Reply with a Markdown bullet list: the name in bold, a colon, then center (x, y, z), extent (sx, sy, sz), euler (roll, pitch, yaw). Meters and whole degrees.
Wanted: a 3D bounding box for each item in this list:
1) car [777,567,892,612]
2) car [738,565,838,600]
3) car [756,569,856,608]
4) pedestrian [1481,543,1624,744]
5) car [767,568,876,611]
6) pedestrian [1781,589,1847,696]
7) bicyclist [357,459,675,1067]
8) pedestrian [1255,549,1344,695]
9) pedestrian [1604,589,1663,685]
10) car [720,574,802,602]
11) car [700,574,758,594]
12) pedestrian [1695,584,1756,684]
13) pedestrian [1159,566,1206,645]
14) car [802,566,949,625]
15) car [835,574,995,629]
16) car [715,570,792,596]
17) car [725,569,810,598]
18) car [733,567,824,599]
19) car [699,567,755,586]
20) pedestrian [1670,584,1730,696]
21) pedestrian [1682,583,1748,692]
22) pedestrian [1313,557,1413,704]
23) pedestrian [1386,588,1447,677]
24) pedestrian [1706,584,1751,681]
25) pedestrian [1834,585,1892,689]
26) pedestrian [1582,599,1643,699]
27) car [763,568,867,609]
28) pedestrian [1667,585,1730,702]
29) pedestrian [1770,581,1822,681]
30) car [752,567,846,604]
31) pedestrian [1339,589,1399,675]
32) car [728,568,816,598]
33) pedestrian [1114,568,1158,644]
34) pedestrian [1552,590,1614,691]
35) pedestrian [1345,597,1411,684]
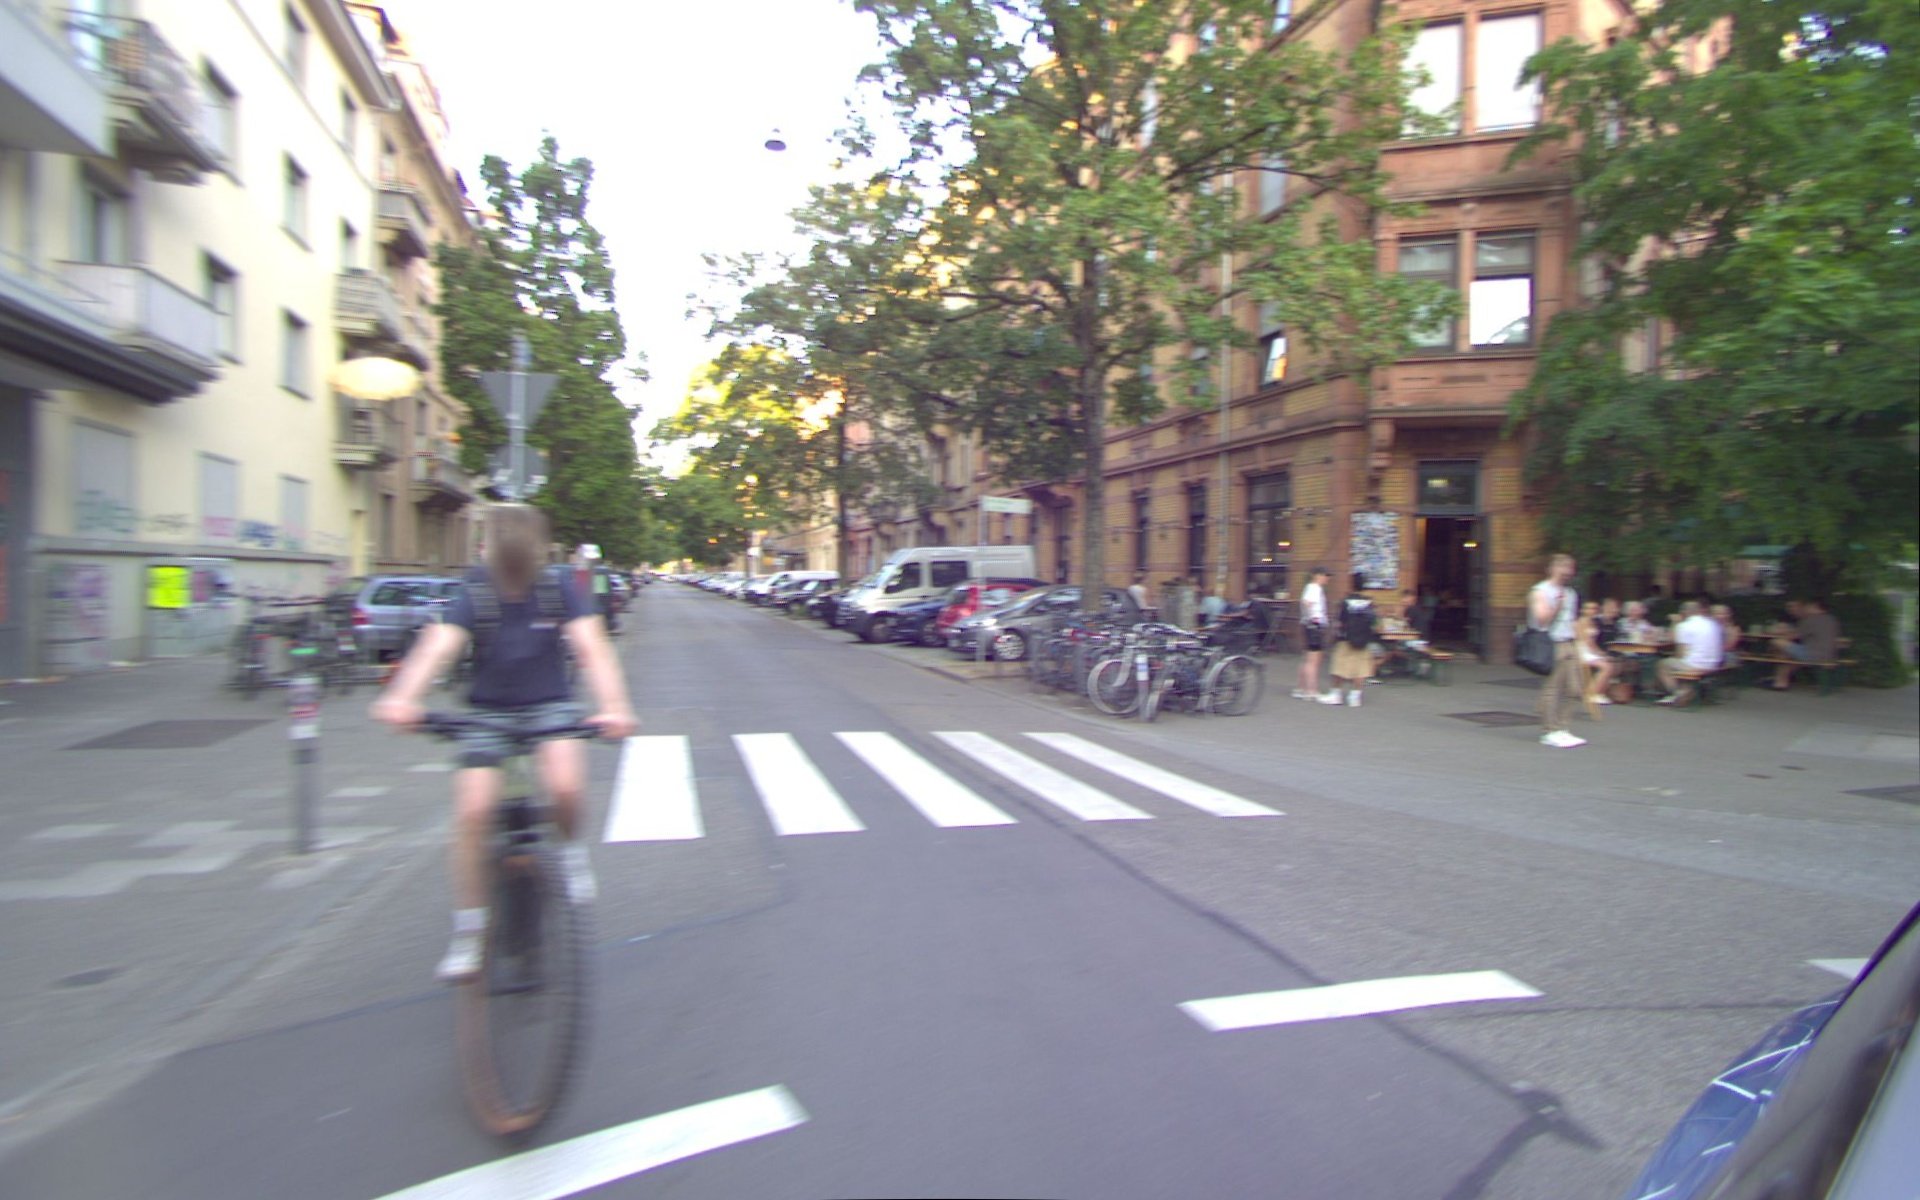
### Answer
- **car**: center (-5.257, -0.445, 42.181), extent (4.449, 1.807, 2.004), euler (-1, 0, -18)
- **car**: center (-9.283, -0.951, 54.496), extent (5.089, 1.807, 2.004), euler (-1, 0, -18)
- **car**: center (-7.405, -0.563, 48.560), extent (4.449, 1.807, 2.004), euler (-1, 0, -18)
- **pedestrian**: center (5.696, 0.394, 9.776), extent (0.820, 1.851, 0.869), euler (-1, 0, -6)
- **car**: center (-6.069, -0.480, 44.269), extent (4.449, 1.807, 2.004), euler (-1, 0, -18)
- **pedestrian**: center (11.752, 0.565, 13.943), extent (0.635, 1.427, 0.508), euler (0, 0, 36)
- **bicyclist**: center (-1.410, 0.456, 3.414), extent (0.774, 1.710, 1.000), euler (1, 0, -12)
- **pedestrian**: center (4.500, 0.271, 13.406), extent (0.834, 1.851, 0.855), euler (0, 0, 43)
- **pedestrian**: center (9.288, 0.494, 13.953), extent (0.564, 1.285, 0.545), euler (-1, 0, -41)
- **car**: center (-13.174, -0.815, 66.984), extent (5.089, 1.807, 2.004), euler (-1, 0, -18)
- **car**: center (-21.411, -1.523, 93.911), extent (5.089, 1.807, 2.004), euler (-1, 0, -18)
- **pedestrian**: center (11.186, 0.475, 14.805), extent (0.507, 1.427, 0.617), euler (-1, 0, 15)
- **pedestrian**: center (4.869, 0.121, 22.210), extent (0.731, 1.698, 0.768), euler (-1, 0, -13)
- **car**: center (-2.775, -0.180, 33.116), extent (4.449, 1.807, 2.004), euler (-1, 0, -18)
- **car**: center (-1.384, 0.023, 30.698), extent (4.449, 1.545, 2.004), euler (-1, 0, -18)
- **car**: center (-14.537, -1.197, 71.246), extent (5.089, 1.807, 2.004), euler (-1, 0, -18)
- **car**: center (-12.232, -1.065, 64.319), extent (5.089, 1.807, 2.004), euler (-1, 0, -18)
- **car**: center (-10.733, -0.995, 59.771), extent (5.089, 1.807, 2.004), euler (-1, 0, -18)
- **car**: center (-22.261, -2.245, 96.665), extent (5.089, 1.807, 2.004), euler (-1, 0, -18)
- **pedestrian**: center (9.501, 0.501, 12.991), extent (0.459, 1.397, 0.545), euler (-1, 0, -44)
- **pedestrian**: center (10.032, 0.481, 13.450), extent (0.563, 1.397, 0.546), euler (-1, 0, -35)
- **pedestrian**: center (4.979, 0.360, 12.543), extent (0.851, 1.745, 0.838), euler (-1, 0, -4)
- **pedestrian**: center (7.271, 0.498, 16.128), extent (0.727, 1.362, 0.626), euler (-1, 0, -39)
- **pedestrian**: center (11.654, 0.479, 15.360), extent (0.511, 1.427, 0.612), euler (0, 0, 36)
- **pedestrian**: center (12.792, 0.511, 14.351), extent (0.551, 1.427, 0.508), euler (0, 0, 36)
- **pedestrian**: center (8.749, 0.638, 13.571), extent (0.564, 1.285, 0.545), euler (-1, 0, -41)
- **car**: center (-6.657, -0.546, 46.435), extent (4.449, 1.807, 2.004), euler (-1, 0, -18)
- **pedestrian**: center (9.070, 0.512, 12.435), extent (0.459, 1.397, 0.545), euler (-1, 0, -44)
- **pedestrian**: center (12.288, 0.442, 14.885), extent (0.551, 1.427, 0.508), euler (0, 0, 36)
- **car**: center (-8.180, -0.753, 51.456), extent (4.449, 1.807, 2.004), euler (-1, 0, -18)
- **pedestrian**: center (6.696, 0.499, 16.556), extent (0.727, 1.362, 0.626), euler (-1, 0, -39)
- **car**: center (-11.540, -1.045, 62.067), extent (5.089, 1.807, 2.004), euler (-1, 0, -18)
- **pedestrian**: center (4.009, 0.119, 23.066), extent (0.731, 1.698, 0.768), euler (-1, 0, -13)
- **pedestrian**: center (8.157, 0.514, 13.257), extent (0.564, 1.285, 0.545), euler (-1, 0, -41)
- **pedestrian**: center (6.187, 0.581, 14.995), extent (0.727, 1.247, 0.626), euler (-1, 0, -39)
